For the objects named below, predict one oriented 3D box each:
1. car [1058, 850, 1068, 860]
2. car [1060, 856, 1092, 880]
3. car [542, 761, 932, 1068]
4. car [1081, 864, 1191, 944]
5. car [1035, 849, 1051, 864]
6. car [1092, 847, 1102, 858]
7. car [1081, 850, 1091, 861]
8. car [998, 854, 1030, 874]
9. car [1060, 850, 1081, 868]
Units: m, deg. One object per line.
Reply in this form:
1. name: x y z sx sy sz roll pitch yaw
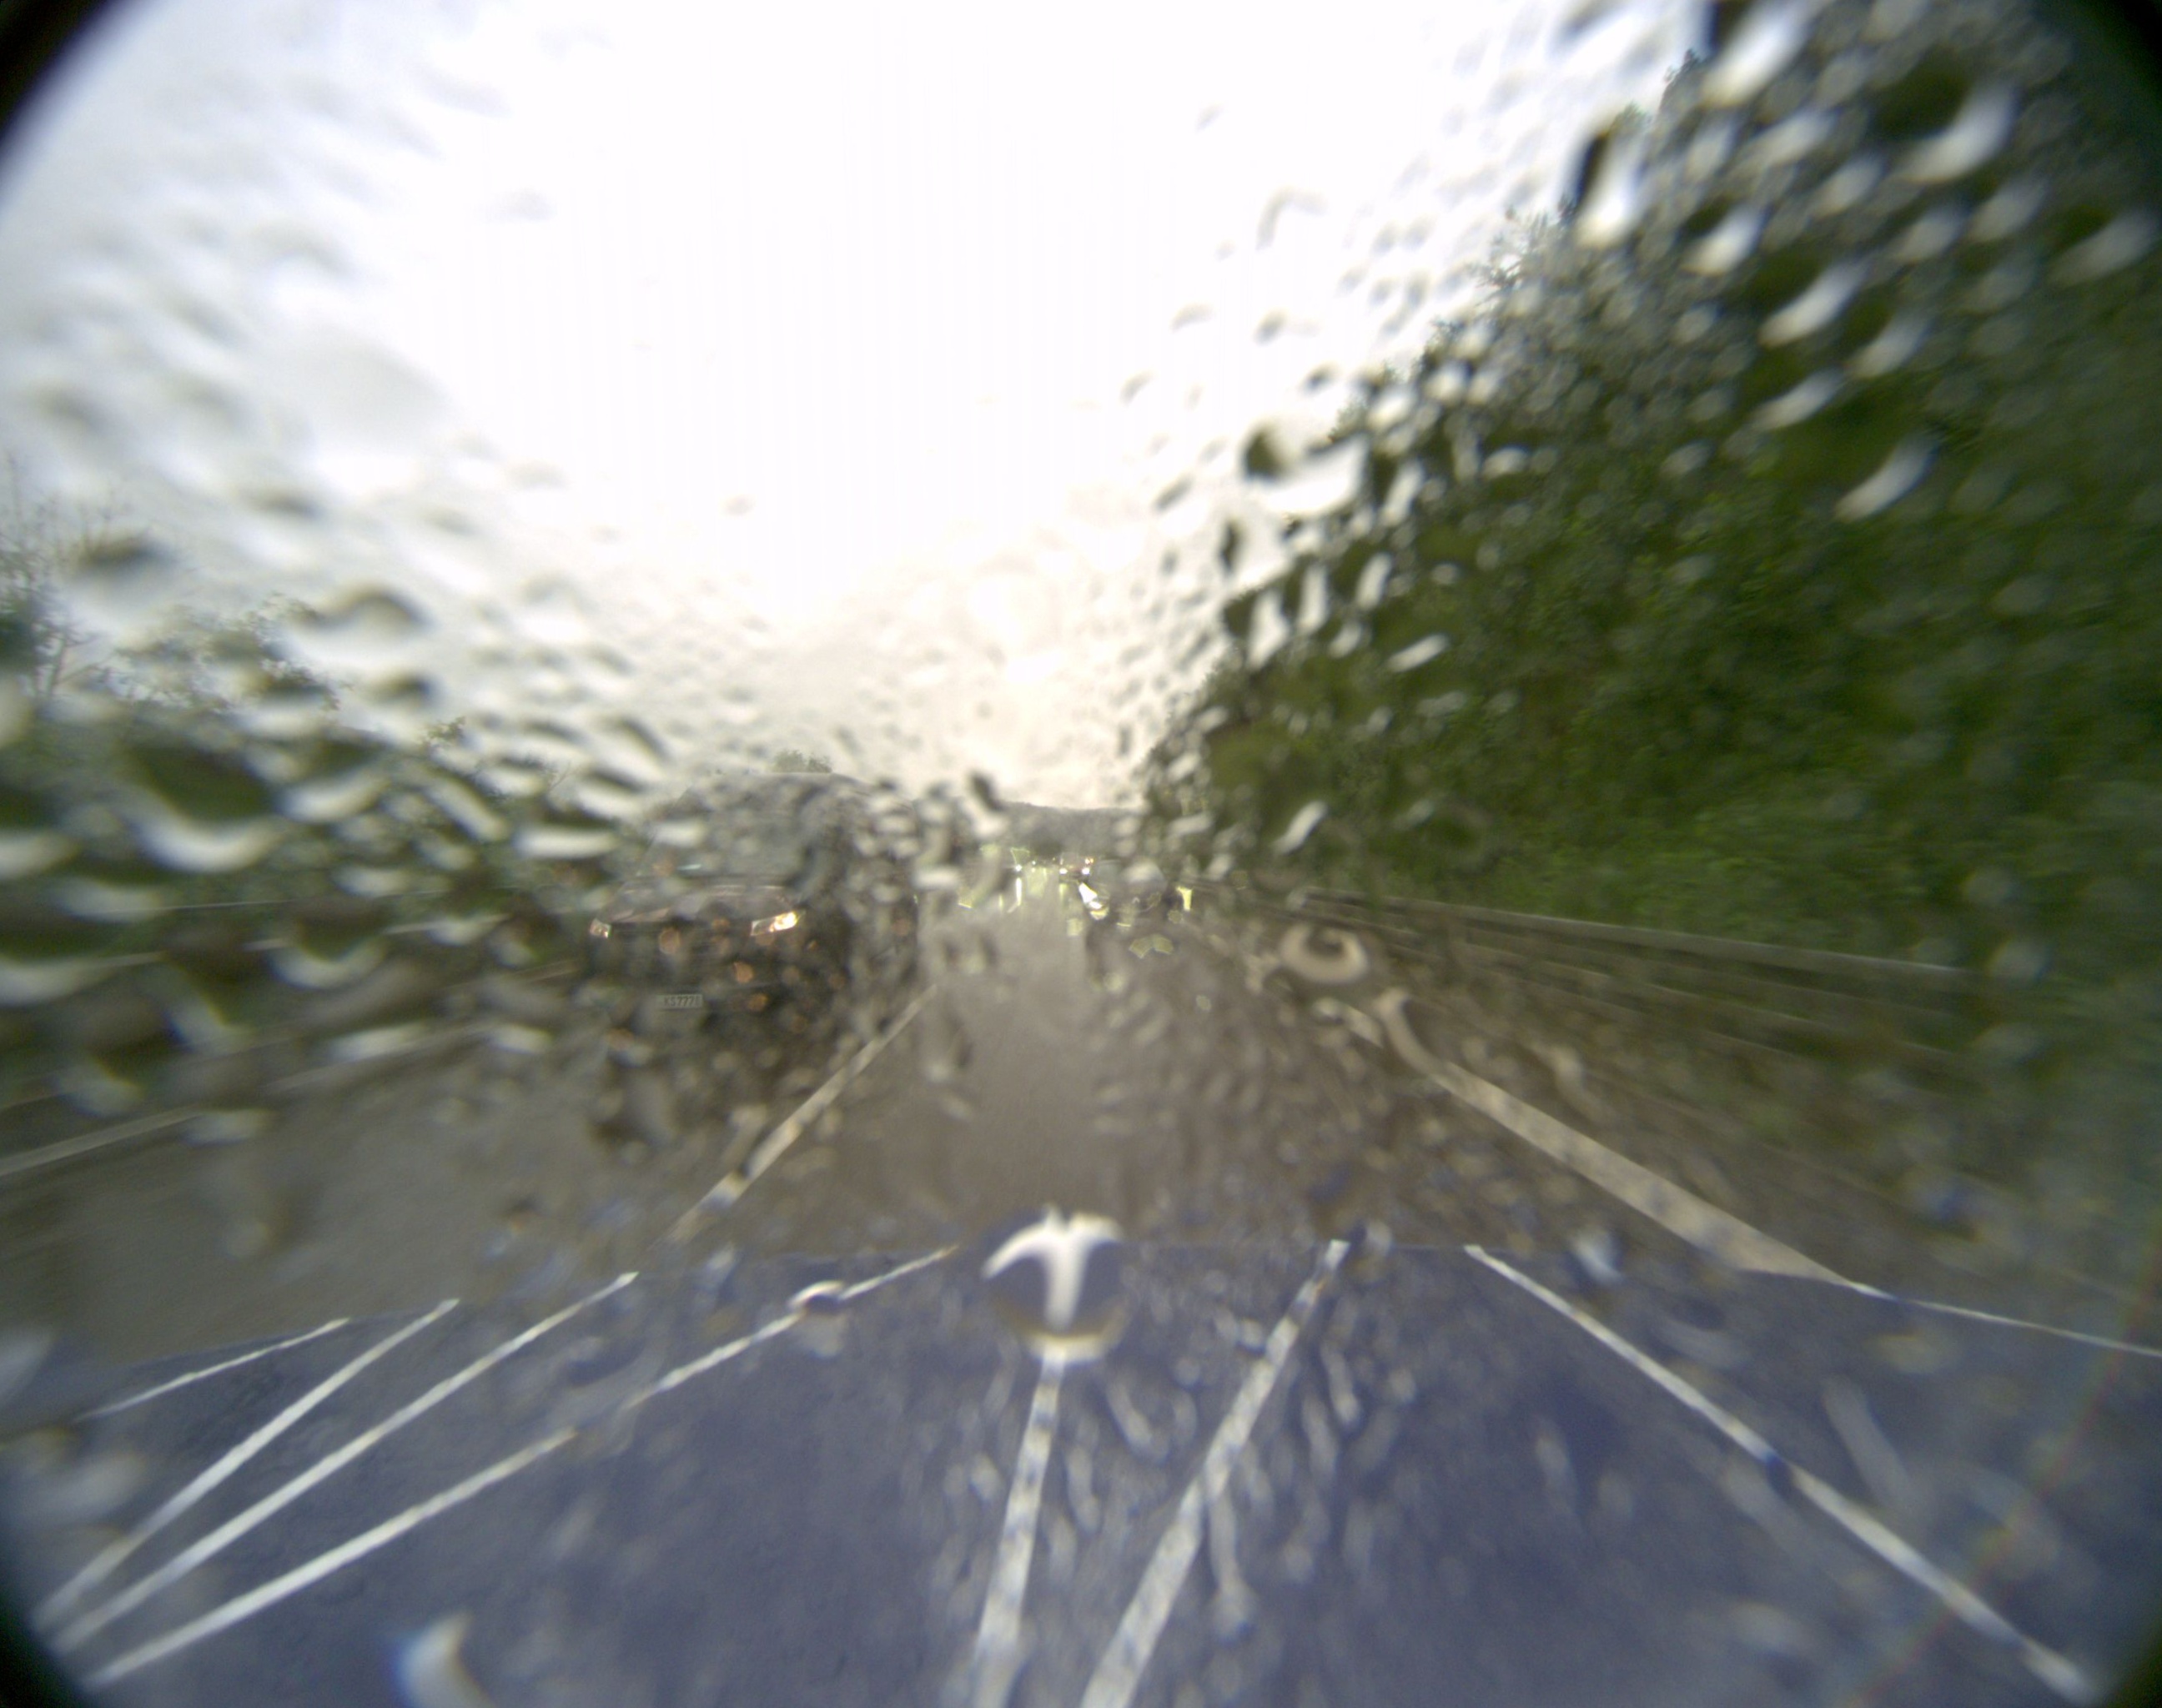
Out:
1. car: -3.121 0.205 131.900 1.710 1.609 3.342 2 1 0
2. car: -0.339 0.812 46.251 1.713 1.316 3.943 0 1 -3
3. car: -3.485 0.484 9.619 1.999 2.480 6.703 -1 0 -2
4. car: 0.981 0.920 15.613 1.839 1.316 4.134 -2 0 -1
5. car: -4.945 0.312 99.441 1.765 1.851 3.767 -2 0 0
6. car: 3.196 -0.355 152.431 1.825 2.002 3.872 2 1 2
7. car: 0.909 0.255 130.410 1.624 1.713 3.412 2 1 1
8. car: -5.105 0.724 58.543 1.991 1.407 4.563 -2 0 0
9. car: -0.974 0.468 72.929 1.906 1.545 4.563 -2 0 -1
